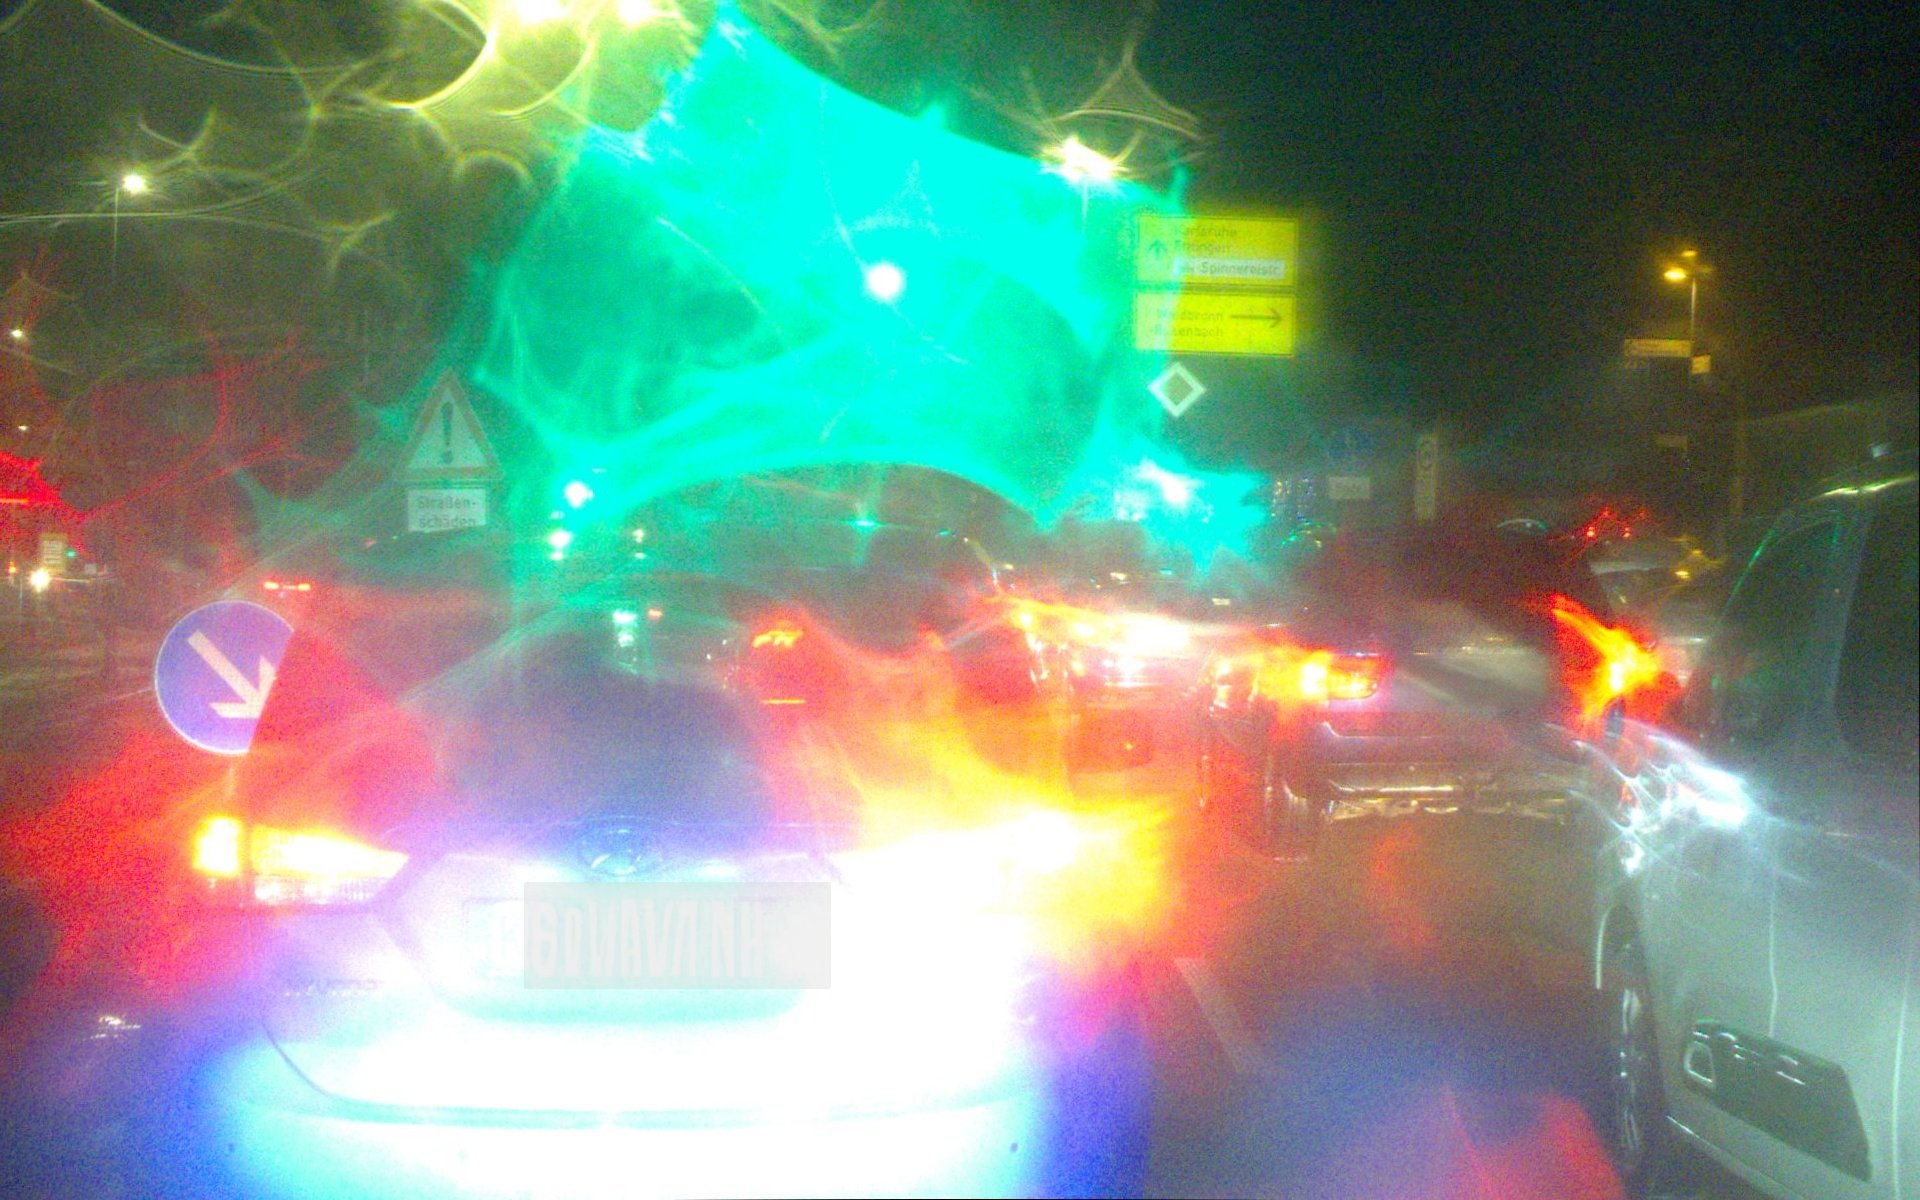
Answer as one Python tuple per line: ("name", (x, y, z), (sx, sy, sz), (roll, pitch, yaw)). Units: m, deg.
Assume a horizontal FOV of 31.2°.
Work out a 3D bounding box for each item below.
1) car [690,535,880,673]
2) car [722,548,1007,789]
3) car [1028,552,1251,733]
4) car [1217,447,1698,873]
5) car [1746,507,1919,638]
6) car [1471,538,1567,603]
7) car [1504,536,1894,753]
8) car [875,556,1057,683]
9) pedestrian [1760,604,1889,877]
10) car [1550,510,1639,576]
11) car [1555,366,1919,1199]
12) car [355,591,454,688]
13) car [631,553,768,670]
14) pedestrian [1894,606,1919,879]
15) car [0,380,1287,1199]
("car", (-2.375, 0.038, 45.783), (1.993, 1.726, 4.001), (1, 0, -10))
("car", (-0.704, 0.475, 26.471), (1.993, 1.678, 4.000), (1, 0, -1))
("car", (1.774, 0.400, 35.175), (1.993, 1.712, 4.000), (1, 0, -1))
("car", (2.577, 0.281, 18.774), (1.968, 2.040, 4.000), (1, 0, -1))
("car", (11.350, -0.293, 39.142), (4.334, 1.455, 1.849), (1, 0, 28))
("car", (14.908, -0.778, 91.788), (1.865, 1.641, 3.963), (-2, 0, 0))
("car", (5.272, 0.255, 25.079), (1.784, 1.437, 4.238), (0, 1, -2))
("car", (0.032, 0.244, 47.892), (1.993, 1.664, 4.001), (1, 0, -8))
("pedestrian", (5.466, 0.879, 21.755), (0.622, 1.696, 0.541), (1, 0, -3))
("car", (20.077, -1.793, 108.957), (1.993, 2.007, 4.000), (1, 0, -1))
("car", (2.482, 0.554, 6.574), (1.851, 1.858, 4.341), (1, 0, -1))
("car", (-12.517, 0.868, 77.305), (2.014, 1.880, 4.453), (2, 2, -11))
("car", (-4.317, 0.164, 56.485), (1.993, 1.818, 4.001), (1, 0, -7))
("pedestrian", (6.426, 0.898, 21.570), (0.864, 1.696, 0.620), (1, 0, -22))
("car", (-0.568, 0.521, 7.561), (2.014, 1.711, 4.452), (1, 0, -1))
